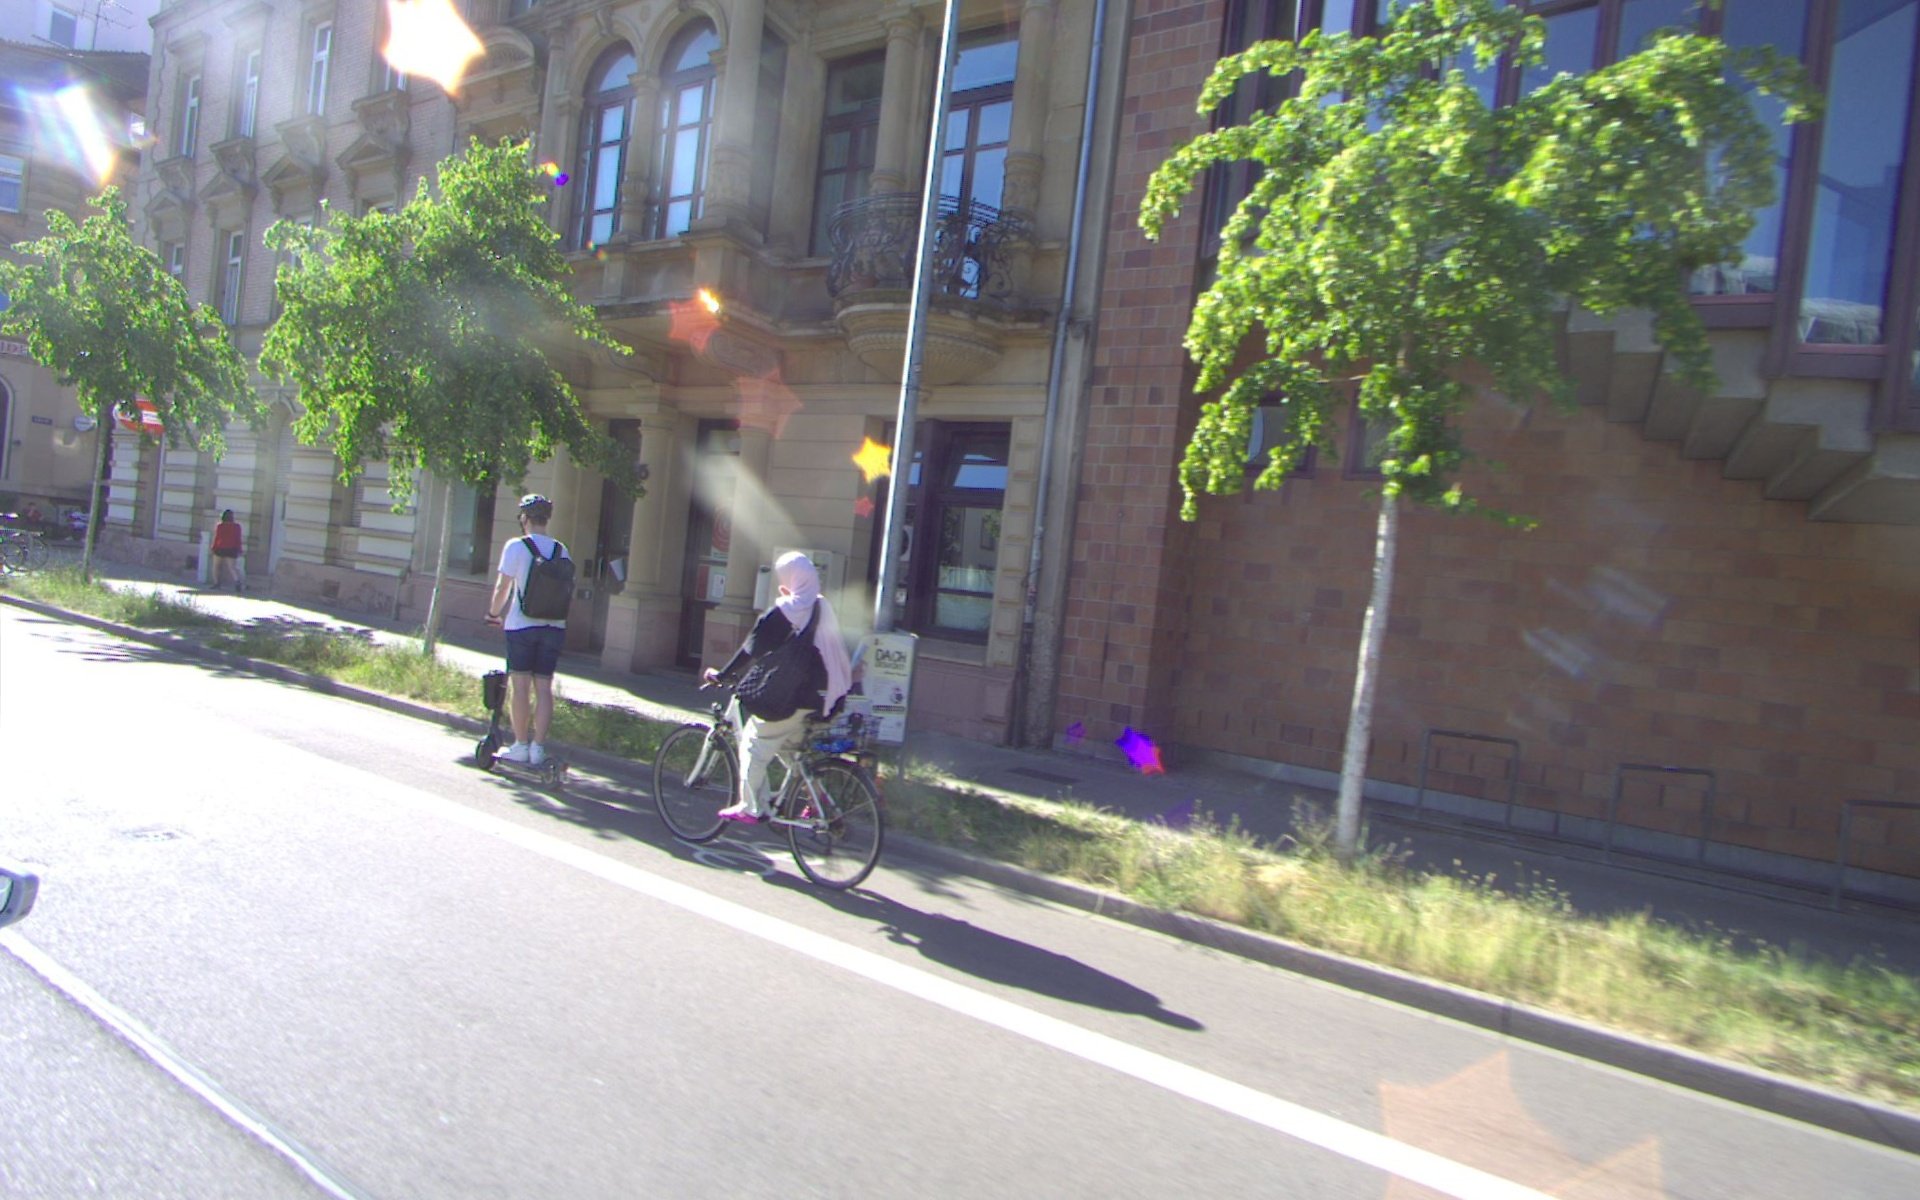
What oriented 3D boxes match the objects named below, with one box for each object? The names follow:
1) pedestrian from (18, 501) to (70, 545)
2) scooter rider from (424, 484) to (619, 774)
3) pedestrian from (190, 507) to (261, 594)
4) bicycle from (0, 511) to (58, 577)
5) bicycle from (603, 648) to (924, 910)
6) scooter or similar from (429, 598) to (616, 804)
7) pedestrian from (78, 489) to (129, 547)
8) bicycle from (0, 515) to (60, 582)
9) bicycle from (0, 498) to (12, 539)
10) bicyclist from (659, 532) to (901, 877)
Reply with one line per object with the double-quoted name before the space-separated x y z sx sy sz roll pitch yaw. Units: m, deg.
"pedestrian" -29.874 -2.510 32.814 0.917 1.229 0.852 7 0 24
"scooter rider" -3.097 0.199 7.124 0.886 1.882 0.667 7 -1 31
"pedestrian" -14.241 -0.953 19.513 0.911 1.561 0.710 7 1 31
"bicycle" -17.816 -1.066 18.281 0.698 1.143 1.994 7 3 32
"bicycle" -1.157 0.952 5.760 1.762 1.105 0.558 7 -1 31
"scooter or similar" -3.089 0.686 7.090 1.151 1.241 0.491 7 -1 31
"pedestrian" -29.245 -2.791 34.339 0.852 1.782 0.909 7 0 24
"bicycle" -16.880 -0.914 17.237 0.832 1.107 1.998 7 2 22
"bicycle" -30.122 -2.576 30.528 0.643 1.186 1.818 11 3 35
"bicyclist" -1.009 0.559 5.726 0.854 1.731 0.781 7 -1 31
